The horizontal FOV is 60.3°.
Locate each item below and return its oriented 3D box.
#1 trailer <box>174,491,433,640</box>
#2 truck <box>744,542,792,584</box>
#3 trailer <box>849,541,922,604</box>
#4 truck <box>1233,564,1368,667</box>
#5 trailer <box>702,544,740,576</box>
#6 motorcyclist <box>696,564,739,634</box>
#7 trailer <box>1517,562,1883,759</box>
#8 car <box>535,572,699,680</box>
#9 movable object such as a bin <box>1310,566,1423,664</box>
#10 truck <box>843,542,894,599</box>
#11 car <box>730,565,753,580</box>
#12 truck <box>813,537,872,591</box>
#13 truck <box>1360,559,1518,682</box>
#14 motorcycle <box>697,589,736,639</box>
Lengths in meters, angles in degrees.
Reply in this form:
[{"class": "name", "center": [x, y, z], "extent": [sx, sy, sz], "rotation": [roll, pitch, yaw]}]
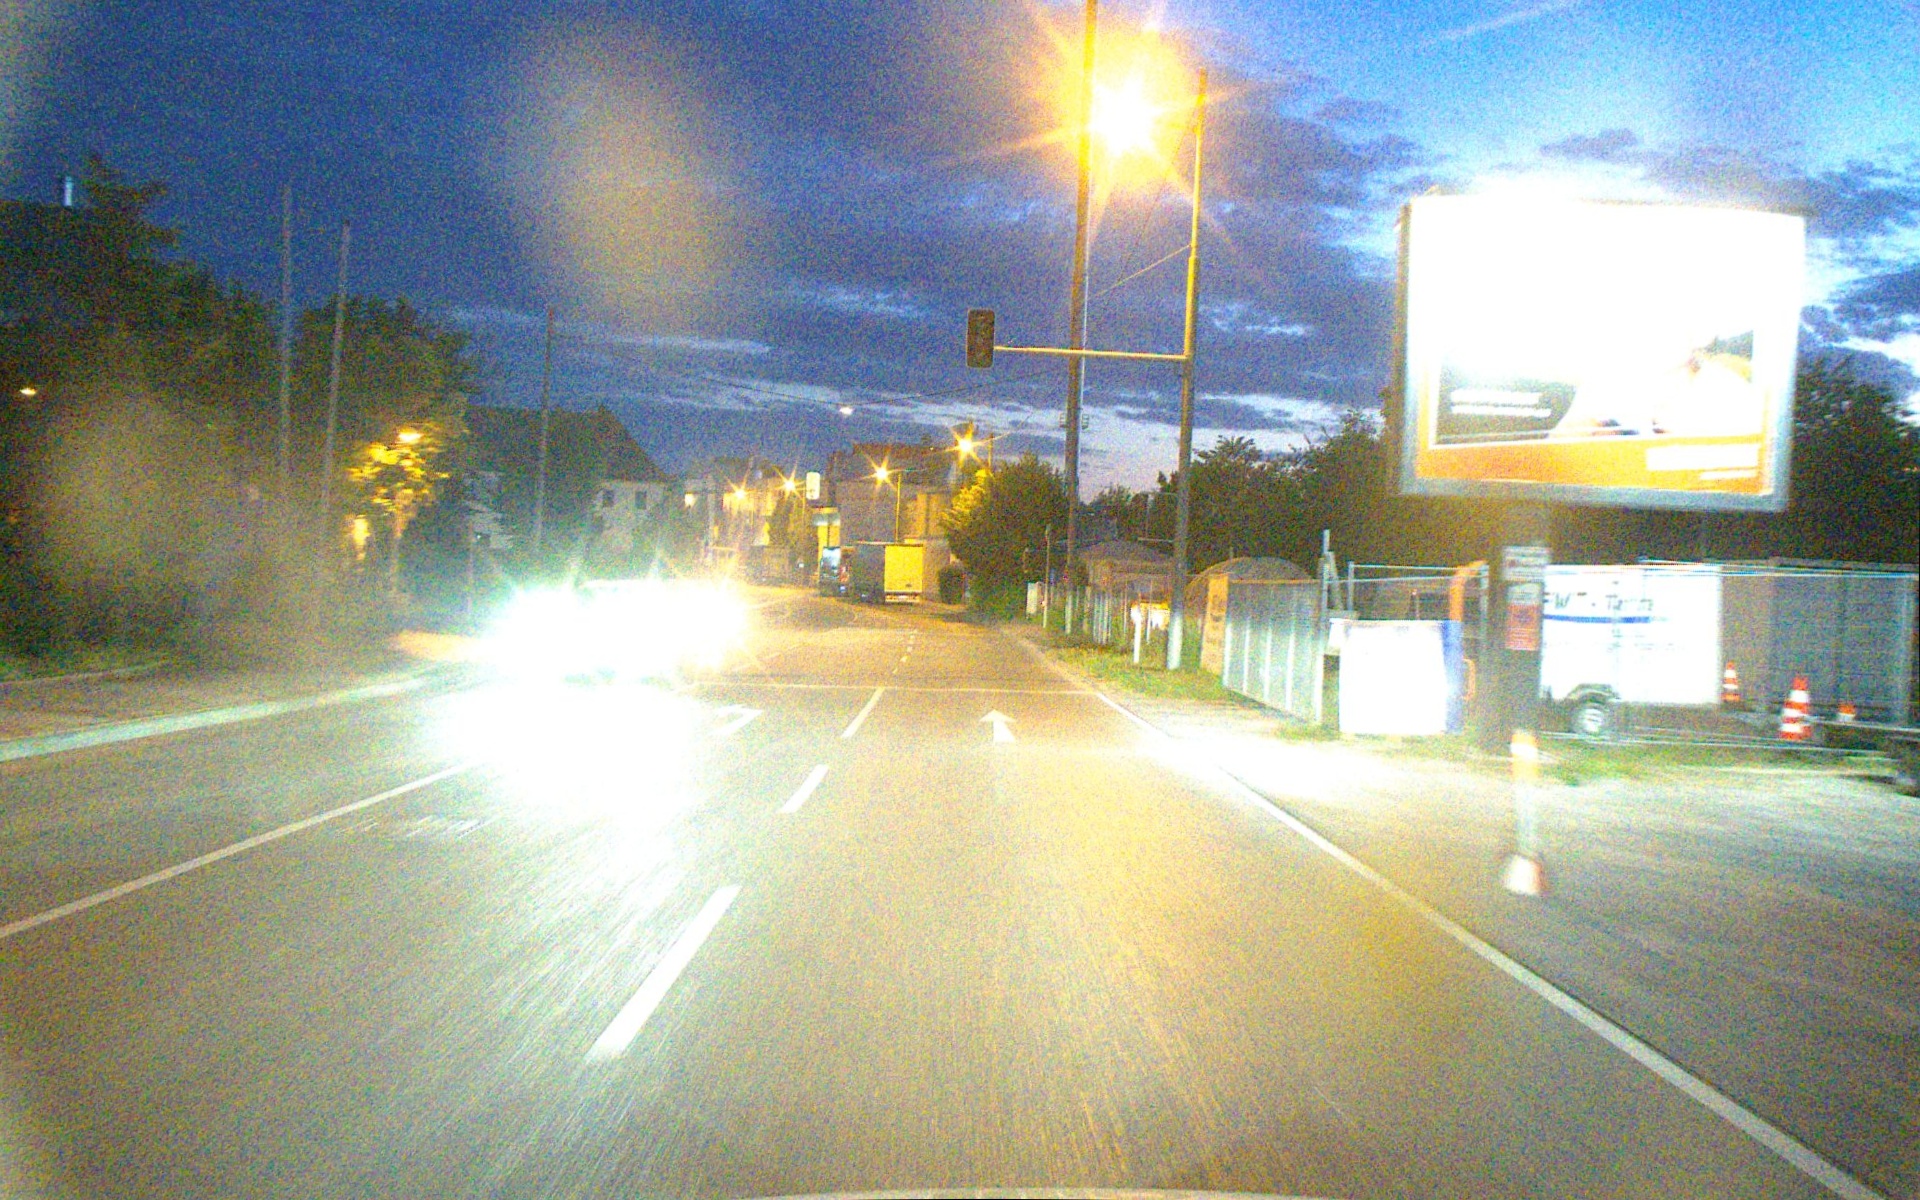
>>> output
[{"class": "trailer", "center": [-12.840, -0.673, 32.558], "extent": [4.261, 2.767, 2.000], "rotation": [1, 1, -2]}, {"class": "truck", "center": [-19.131, -3.692, 164.149], "extent": [3.460, 4.052, 10.307], "rotation": [1, 1, -13]}, {"class": "trailer", "center": [-5.324, -1.987, 114.768], "extent": [2.759, 4.052, 13.933], "rotation": [1, 1, -12]}, {"class": "truck", "center": [9.134, 0.343, 45.064], "extent": [2.138, 2.465, 7.317], "rotation": [3, 1, 1]}, {"class": "trailer", "center": [-27.600, -4.621, 190.824], "extent": [2.647, 3.524, 7.765], "rotation": [2, 1, -20]}, {"class": "motorcyclist", "center": [-6.877, -0.030, 46.891], "extent": [1.112, 1.933, 0.832], "rotation": [2, 0, -8]}, {"class": "trailer", "center": [8.463, 0.616, 19.142], "extent": [3.671, 2.048, 1.614], "rotation": [2, 1, 23]}, {"class": "car", "center": [-5.880, 0.399, 28.943], "extent": [1.953, 1.655, 4.751], "rotation": [2, 0, -2]}, {"class": "movable object such as a bin", "center": [12.281, 0.411, 50.242], "extent": [2.183, 2.772, 3.863], "rotation": [3, 1, -3]}, {"class": "truck", "center": [-6.728, -2.206, 121.173], "extent": [2.781, 4.052, 6.031], "rotation": [1, 1, -13]}, {"class": "car", "center": [-23.605, -2.941, 178.662], "extent": [1.823, 1.545, 3.801], "rotation": [1, 1, -17]}, {"class": "truck", "center": [-9.427, -2.888, 131.613], "extent": [2.783, 4.052, 10.304], "rotation": [1, 1, -14]}, {"class": "truck", "center": [12.226, 0.464, 42.825], "extent": [2.138, 2.796, 7.318], "rotation": [3, 0, 2]}, {"class": "motorcycle", "center": [-6.897, 0.374, 46.976], "extent": [0.978, 1.327, 2.822], "rotation": [2, 0, -7]}]
